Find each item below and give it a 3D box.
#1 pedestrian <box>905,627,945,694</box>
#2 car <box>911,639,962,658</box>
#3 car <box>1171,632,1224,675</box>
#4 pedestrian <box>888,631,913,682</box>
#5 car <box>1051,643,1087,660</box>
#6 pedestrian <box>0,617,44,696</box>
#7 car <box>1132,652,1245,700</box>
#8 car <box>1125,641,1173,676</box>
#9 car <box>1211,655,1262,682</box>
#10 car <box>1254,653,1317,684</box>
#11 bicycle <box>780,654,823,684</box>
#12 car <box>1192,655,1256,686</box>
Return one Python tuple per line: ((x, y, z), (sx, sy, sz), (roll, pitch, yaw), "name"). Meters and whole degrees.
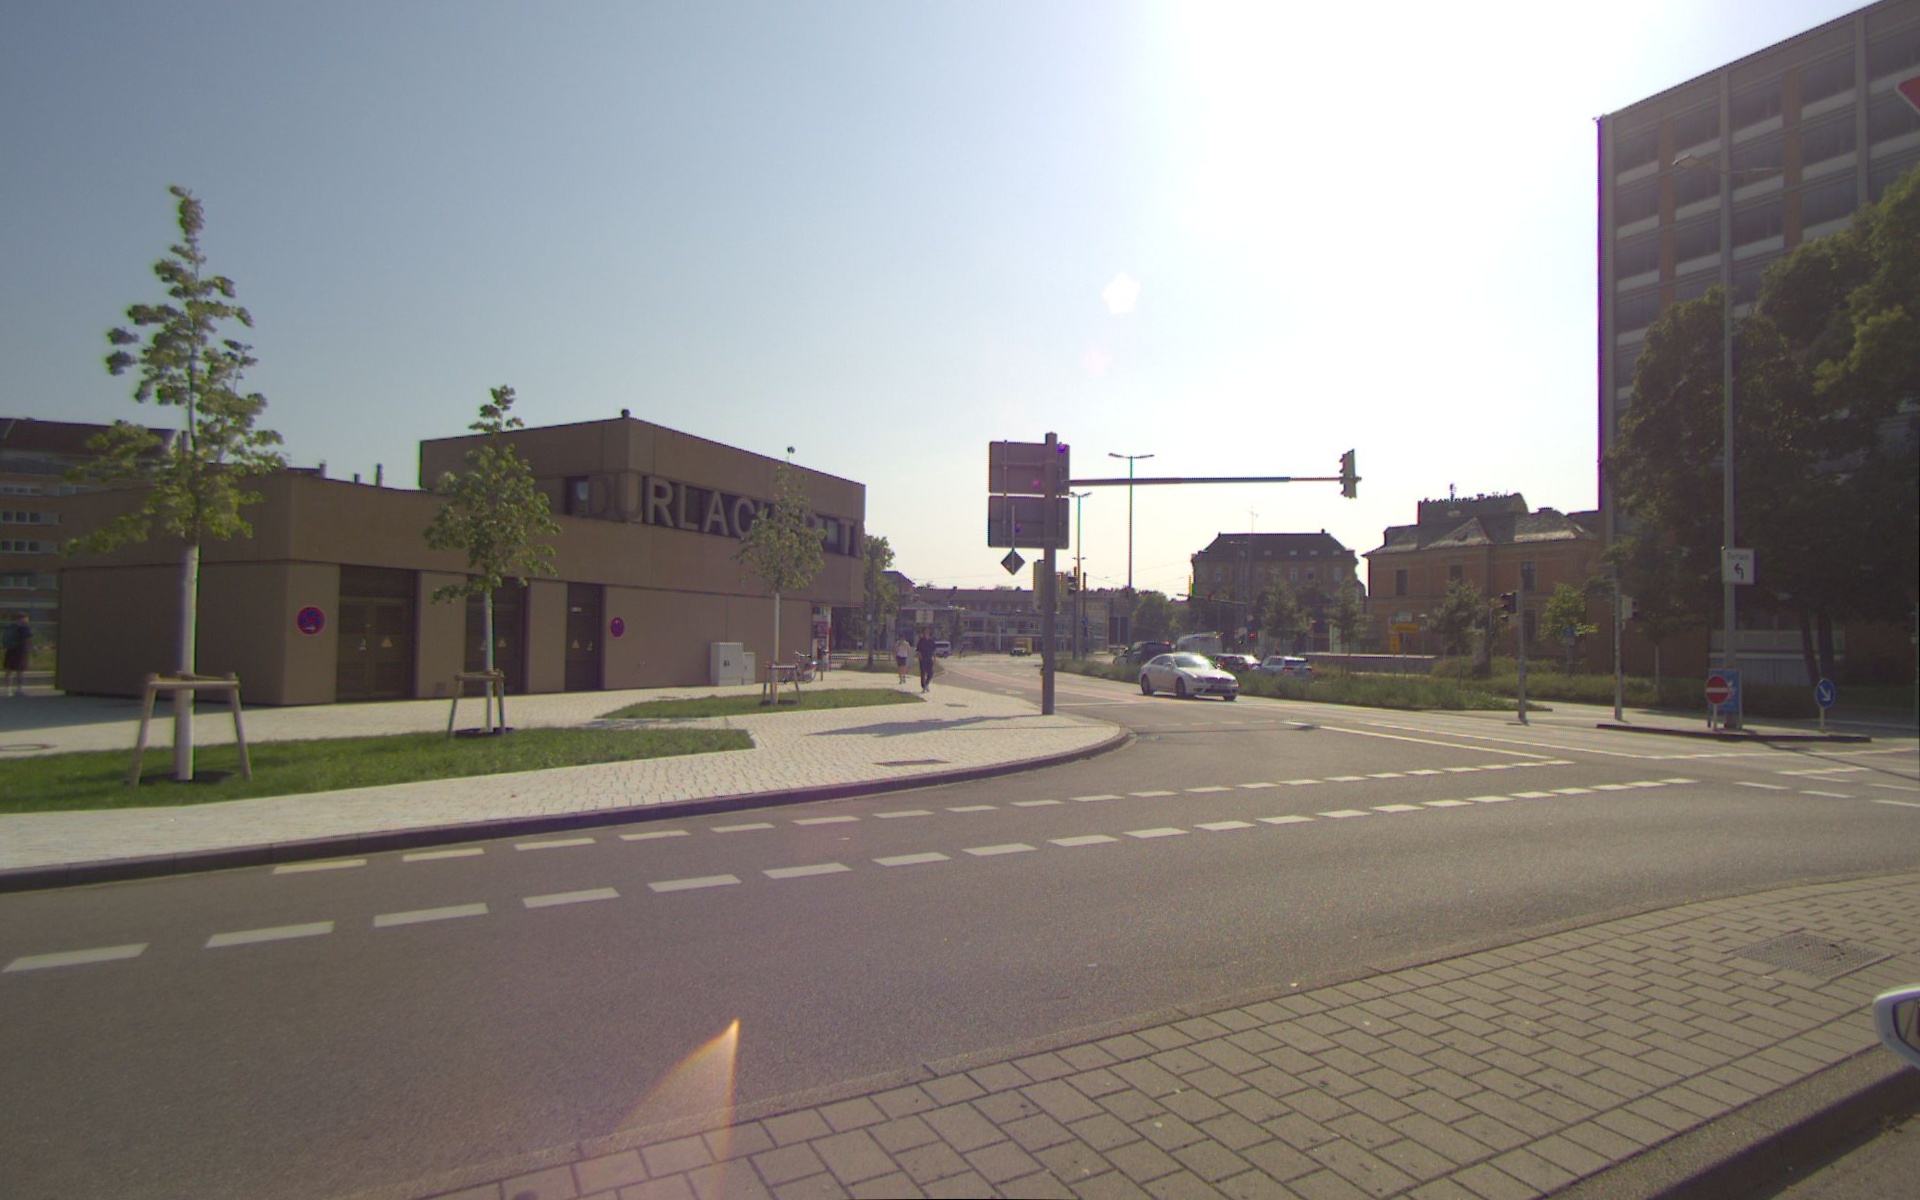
((-1.023, 1.741, 29.029), (0.721, 1.864, 1.075), (1, 0, -28), "pedestrian")
((-2.638, 5.498, 112.777), (5.474, 2.040, 1.992), (2, -2, -19), "car")
((15.189, 3.455, 64.481), (2.153, 2.582, 4.684), (2, -3, -2), "car")
((-2.226, 2.114, 37.423), (0.687, 1.856, 0.566), (4, -4, -30), "pedestrian")
((13.266, 6.276, 122.023), (3.936, 2.040, 1.993), (1, -2, -17), "car")
((-21.657, 1.294, 23.198), (0.646, 1.792, 0.473), (2, -3, -39), "pedestrian")
((7.309, 2.429, 32.703), (1.815, 1.379, 4.810), (1, -2, -11), "car")
((11.759, 3.652, 62.742), (1.990, 2.034, 4.684), (2, -3, -2), "car")
((15.224, 3.753, 55.476), (1.465, 1.421, 3.941), (2, -3, -4), "car")
((15.842, 3.303, 49.033), (1.658, 1.405, 3.633), (2, -3, -4), "car")
((-5.440, 2.367, 34.519), (0.648, 0.968, 1.611), (2, -2, 25), "bicycle")
((12.904, 3.448, 49.288), (1.675, 1.385, 3.960), (2, -3, -7), "car")
